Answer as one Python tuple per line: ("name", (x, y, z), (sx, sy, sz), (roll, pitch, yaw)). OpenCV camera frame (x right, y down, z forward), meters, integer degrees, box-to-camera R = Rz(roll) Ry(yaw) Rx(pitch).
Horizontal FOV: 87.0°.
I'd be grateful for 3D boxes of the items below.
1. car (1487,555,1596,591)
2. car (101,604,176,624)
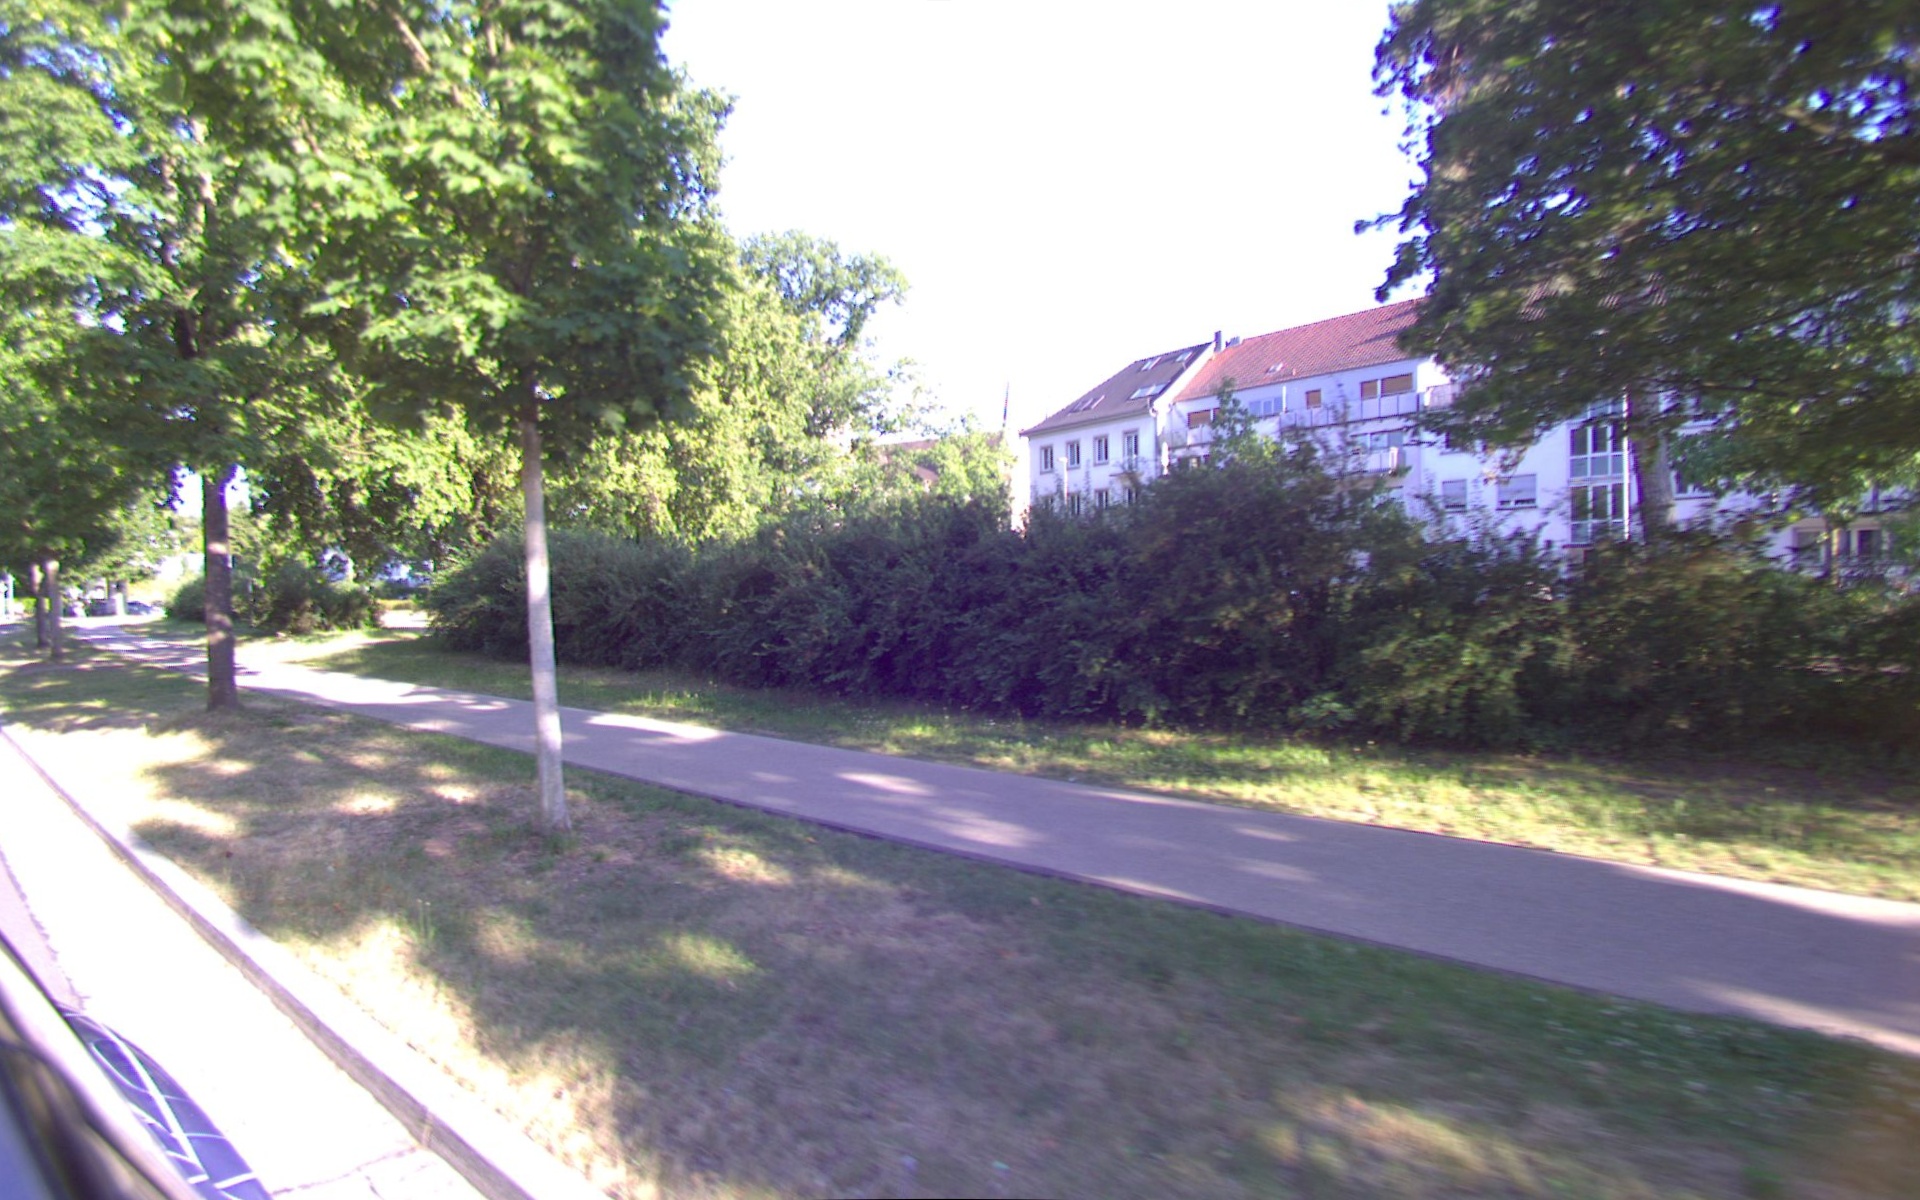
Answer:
("car", (22.953, -1.070, 40.002), (1.614, 1.327, 3.381), (-4, 3, -41))
("car", (-72.611, 1.229, 89.499), (1.861, 1.570, 4.787), (-1, 2, 32))
